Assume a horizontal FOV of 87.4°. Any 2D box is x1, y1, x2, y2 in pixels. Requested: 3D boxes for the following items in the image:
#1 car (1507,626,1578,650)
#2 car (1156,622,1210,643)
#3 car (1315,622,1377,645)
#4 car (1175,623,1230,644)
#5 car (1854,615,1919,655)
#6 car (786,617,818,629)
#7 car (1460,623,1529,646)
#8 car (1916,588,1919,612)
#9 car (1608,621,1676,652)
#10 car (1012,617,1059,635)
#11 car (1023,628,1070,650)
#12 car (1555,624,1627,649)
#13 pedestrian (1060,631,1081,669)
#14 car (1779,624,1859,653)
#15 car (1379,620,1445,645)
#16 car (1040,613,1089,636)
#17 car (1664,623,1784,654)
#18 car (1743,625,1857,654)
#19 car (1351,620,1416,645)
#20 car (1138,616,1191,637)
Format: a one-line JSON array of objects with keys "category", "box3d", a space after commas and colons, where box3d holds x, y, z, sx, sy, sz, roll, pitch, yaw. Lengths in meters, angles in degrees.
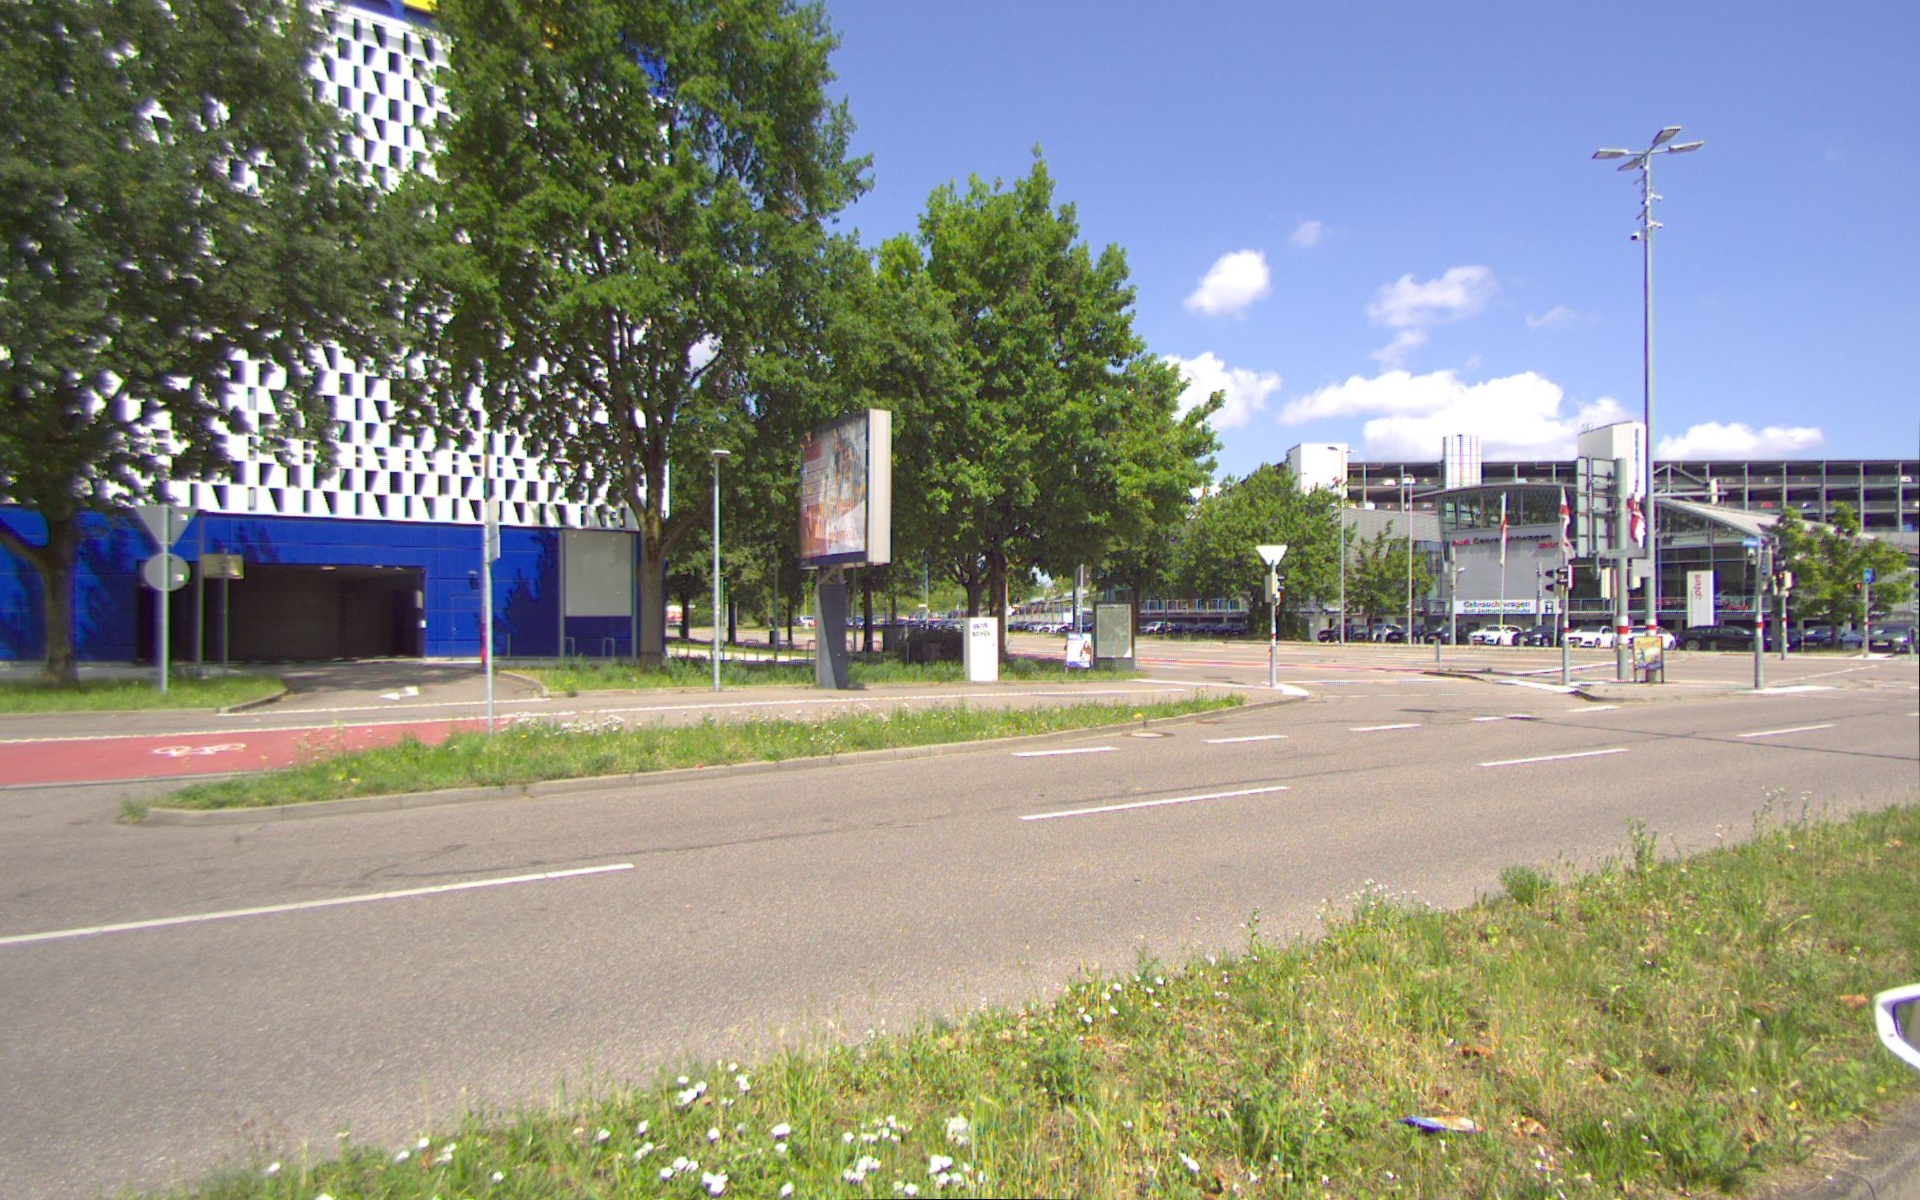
[{"category": "car", "box3d": [34.727, 2.295, 59.864, 4.543, 1.315, 1.889, 2, 0, -35]}, {"category": "car", "box3d": [18.800, 2.731, 84.645, 4.543, 1.700, 1.889, 2, 0, -35]}, {"category": "car", "box3d": [27.397, 2.389, 71.240, 4.544, 1.423, 1.889, 3, -1, -35]}, {"category": "car", "box3d": [20.089, 2.776, 83.035, 4.543, 1.700, 1.889, 2, 0, -35]}, {"category": "car", "box3d": [43.569, 1.637, 46.765, 4.543, 1.700, 1.889, 2, 0, -35]}, {"category": "car", "box3d": [-23.122, 3.368, 147.056, 4.327, 1.533, 1.916, 2, 0, -36]}, {"category": "car", "box3d": [33.193, 2.118, 62.311, 4.543, 1.315, 1.889, 2, 0, -35]}, {"category": "car", "box3d": [76.187, 0.034, 76.677, 1.747, 1.825, 4.412, 2, 0, -35]}, {"category": "car", "box3d": [37.752, 2.033, 55.581, 3.961, 1.483, 1.779, 5, -3, -35]}, {"category": "car", "box3d": [7.704, 2.618, 102.576, 4.543, 1.700, 1.889, 2, 0, -35]}, {"category": "car", "box3d": [8.710, 3.953, 100.860, 4.543, 2.076, 1.889, 2, 0, -35]}, {"category": "car", "box3d": [36.283, 2.110, 57.723, 4.543, 1.315, 1.889, 2, 0, -35]}, {"category": "pedestrian", "box3d": [4.622, 2.080, 42.053, 0.499, 1.576, 0.753, 0, -1, -34]}, {"category": "car", "box3d": [41.917, 1.872, 48.982, 4.543, 1.315, 1.889, 2, 0, -35]}, {"category": "car", "box3d": [29.992, 2.140, 66.582, 4.544, 1.402, 1.889, 4, -1, -35]}, {"category": "car", "box3d": [10.205, 2.415, 97.881, 4.543, 2.076, 1.889, 2, 0, -35]}, {"category": "car", "box3d": [40.114, 1.988, 52.833, 1.778, 1.483, 4.710, 5, -3, -34]}, {"category": "car", "box3d": [48.179, 2.256, 57.694, 1.965, 1.530, 4.710, 5, -3, -34]}, {"category": "car", "box3d": [28.964, 2.235, 68.654, 4.545, 1.423, 1.889, 5, -2, -35]}, {"category": "car", "box3d": [17.713, 2.274, 87.065, 4.543, 1.700, 1.889, 2, 0, -35]}]
